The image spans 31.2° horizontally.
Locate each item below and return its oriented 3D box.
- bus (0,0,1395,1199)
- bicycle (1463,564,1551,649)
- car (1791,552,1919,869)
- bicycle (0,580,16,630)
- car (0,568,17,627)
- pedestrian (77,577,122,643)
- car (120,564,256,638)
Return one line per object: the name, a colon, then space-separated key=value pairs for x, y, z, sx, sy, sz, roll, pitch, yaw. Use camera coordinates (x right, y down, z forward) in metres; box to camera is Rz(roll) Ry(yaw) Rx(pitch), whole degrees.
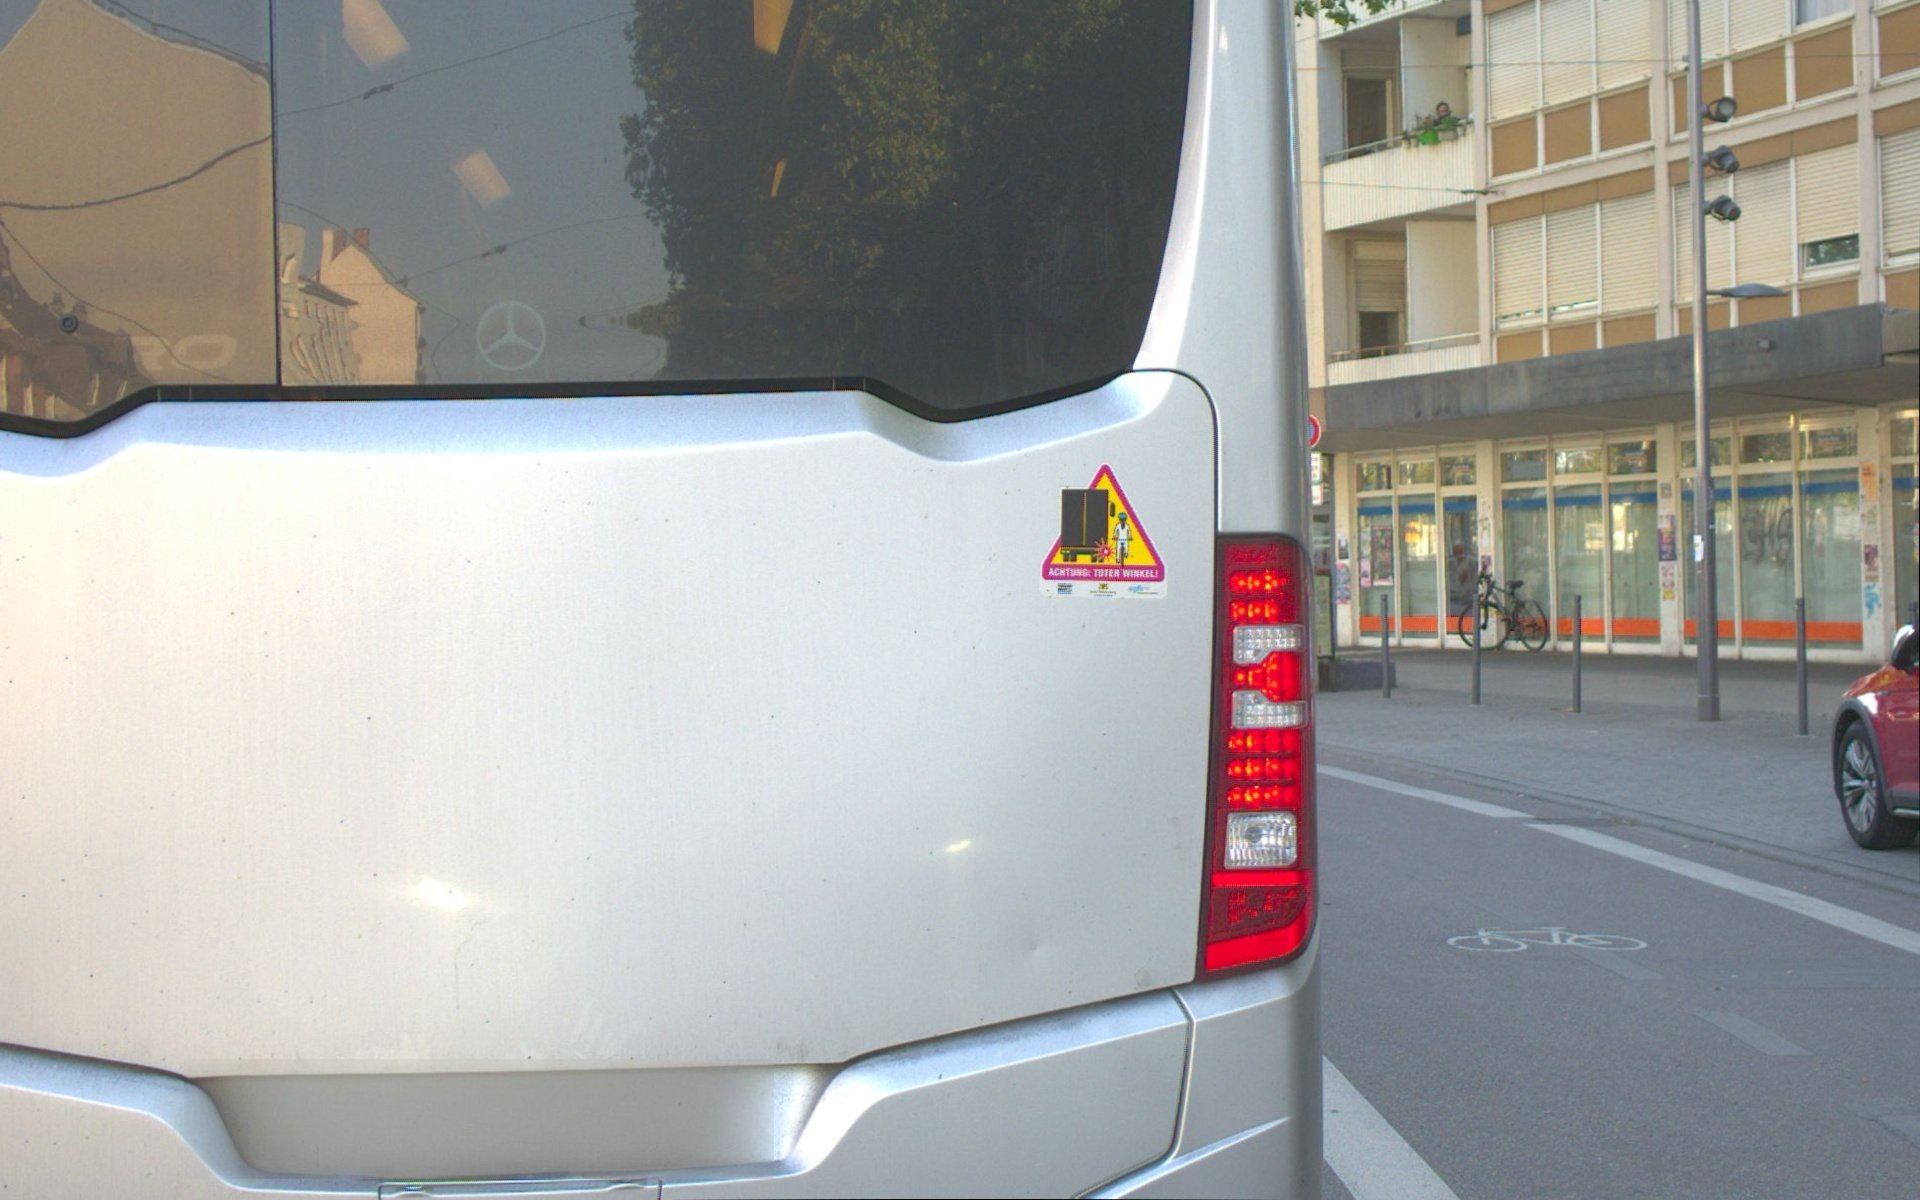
bus: x=-0.917 y=-0.121 z=10.116 sx=2.657 sy=3.088 sz=10.217 roll=-1 pitch=0 yaw=-2
bicycle: x=7.225 y=0.078 z=45.459 sx=0.437 sy=1.089 sz=1.462 roll=-4 pitch=2 yaw=-20
car: x=5.502 y=0.505 z=15.991 sx=1.778 sy=1.491 sz=4.568 roll=-3 pitch=1 yaw=-4
bicycle: x=-23.717 y=0.126 z=84.950 sx=0.507 sy=1.207 sz=2.093 roll=-1 pitch=1 yaw=-21
car: x=-25.690 y=-0.026 z=88.048 sx=1.663 sy=1.463 sz=3.411 roll=-5 pitch=4 yaw=-38
pedestrian: x=-17.091 y=0.190 z=68.292 sx=0.777 sy=1.299 sz=0.594 roll=-1 pitch=1 yaw=-21
car: x=-17.458 y=0.013 z=77.672 sx=1.663 sy=1.511 sz=3.412 roll=-5 pitch=4 yaw=-37
